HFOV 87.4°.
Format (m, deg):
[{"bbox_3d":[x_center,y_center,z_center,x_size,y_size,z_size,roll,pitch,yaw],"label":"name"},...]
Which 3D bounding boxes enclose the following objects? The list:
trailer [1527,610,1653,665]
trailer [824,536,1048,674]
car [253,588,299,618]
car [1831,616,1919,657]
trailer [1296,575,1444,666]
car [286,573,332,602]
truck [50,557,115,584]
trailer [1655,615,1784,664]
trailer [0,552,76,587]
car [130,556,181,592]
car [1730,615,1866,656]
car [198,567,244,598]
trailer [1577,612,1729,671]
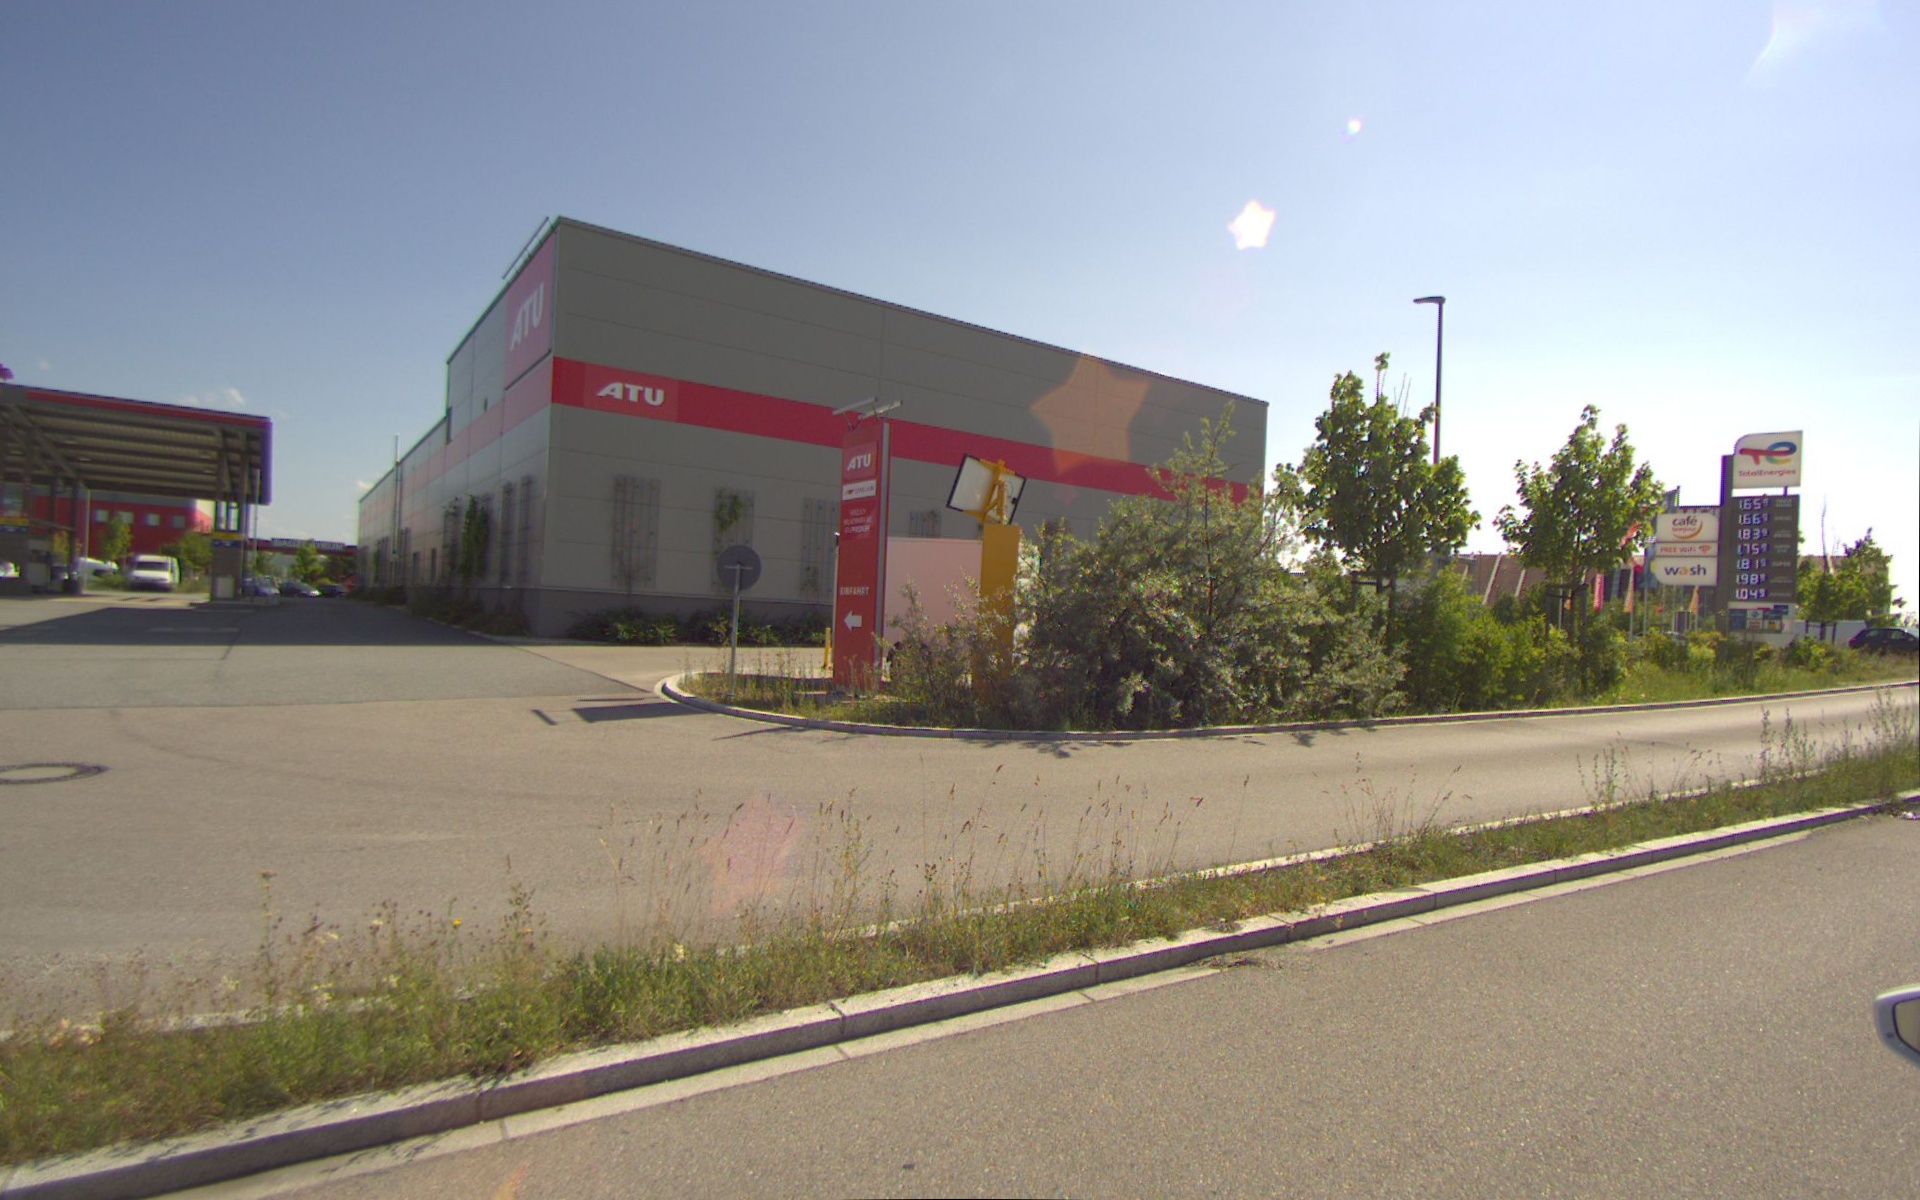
[{"bbox_3d":[23.084,1.354,36.958,3.626,1.795,1.806,2,0,24],"label":"trailer"},{"bbox_3d":[-0.352,0.056,16.626,3.143,2.040,2.000,2,0,19],"label":"trailer"},{"bbox_3d":[-55.295,0.232,81.186,2.370,2.216,5.414,2,0,-42],"label":"car"},{"bbox_3d":[40.305,1.582,43.142,1.794,1.639,3.936,2,0,-25],"label":"car"},{"bbox_3d":[10.159,0.473,24.880,3.180,2.040,1.746,2,0,27],"label":"trailer"},{"bbox_3d":[-53.281,-1.076,82.126,2.370,2.216,5.414,2,0,-42],"label":"car"},{"bbox_3d":[-77.166,-2.592,88.446,4.218,2.216,2.359,2,0,-41],"label":"truck"},{"bbox_3d":[29.009,1.486,38.494,3.626,1.795,1.806,0,-1,24],"label":"trailer"},{"bbox_3d":[-82.533,-2.719,83.835,13.083,2.796,2.358,2,0,-42],"label":"trailer"},{"bbox_3d":[-53.372,-1.727,66.622,2.370,2.216,5.414,2,0,-42],"label":"car"},{"bbox_3d":[52.482,2.166,63.078,6.159,2.264,2.037,2,0,28],"label":"car"},{"bbox_3d":[-58.023,-1.391,78.812,2.370,2.216,5.414,2,0,-42],"label":"car"},{"bbox_3d":[21.994,1.283,32.032,3.627,1.471,1.707,5,1,24],"label":"trailer"}]
